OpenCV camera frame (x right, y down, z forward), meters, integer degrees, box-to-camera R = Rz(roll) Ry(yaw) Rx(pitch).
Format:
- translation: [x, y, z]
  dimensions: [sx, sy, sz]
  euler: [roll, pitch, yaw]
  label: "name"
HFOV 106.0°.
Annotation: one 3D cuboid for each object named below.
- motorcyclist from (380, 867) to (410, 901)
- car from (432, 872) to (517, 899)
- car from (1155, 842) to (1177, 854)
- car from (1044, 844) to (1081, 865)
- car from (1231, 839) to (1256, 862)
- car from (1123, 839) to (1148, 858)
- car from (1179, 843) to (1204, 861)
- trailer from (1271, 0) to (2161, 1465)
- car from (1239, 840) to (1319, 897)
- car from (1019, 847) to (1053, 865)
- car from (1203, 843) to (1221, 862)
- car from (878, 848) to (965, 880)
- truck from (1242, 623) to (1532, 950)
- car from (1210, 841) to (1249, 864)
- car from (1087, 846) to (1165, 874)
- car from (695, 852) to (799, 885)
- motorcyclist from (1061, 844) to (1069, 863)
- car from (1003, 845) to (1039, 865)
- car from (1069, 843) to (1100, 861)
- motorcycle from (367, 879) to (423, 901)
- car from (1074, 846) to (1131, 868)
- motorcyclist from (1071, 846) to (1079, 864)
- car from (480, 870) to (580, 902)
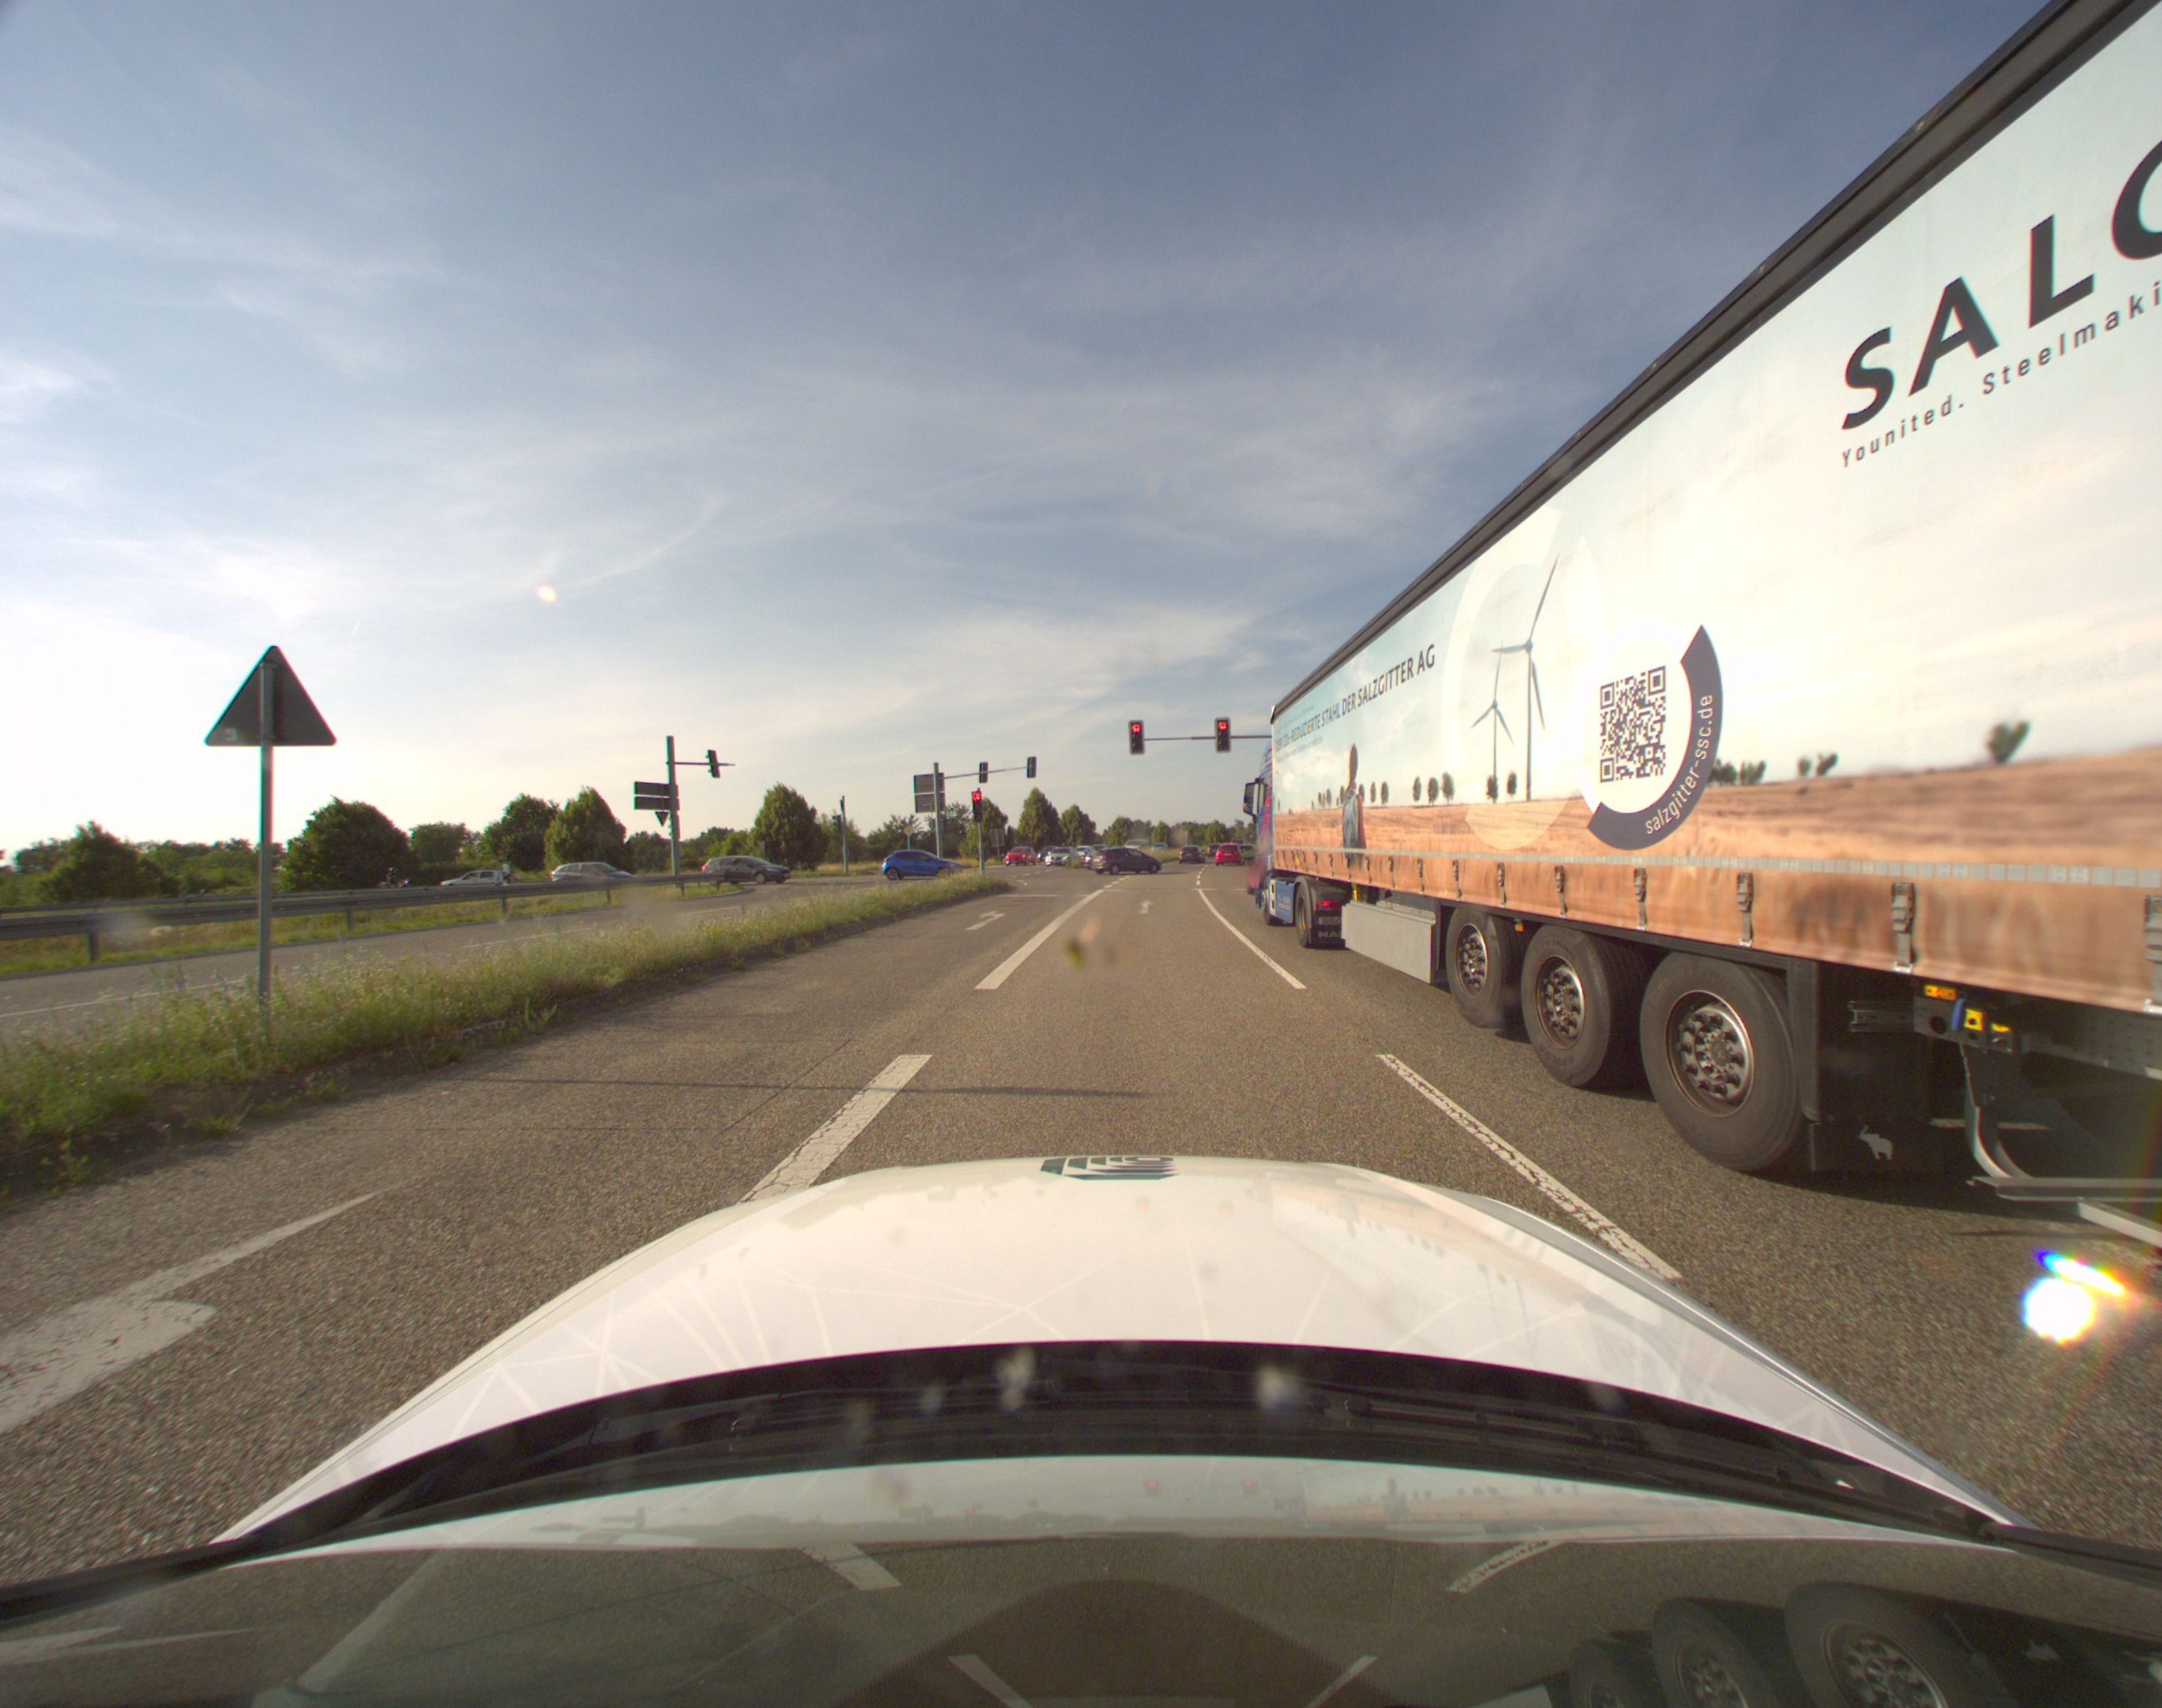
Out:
- translation: [-37.326, 1.621, 44.309]
  dimensions: [0.827, 1.758, 0.905]
  euler: [-1, 0, -4]
  label: "motorcyclist"
- translation: [-39.648, 2.065, 53.313]
  dimensions: [3.976, 1.540, 1.999]
  euler: [-2, 0, -2]
  label: "car"
- translation: [10.760, -0.785, 102.872]
  dimensions: [1.771, 1.385, 4.073]
  euler: [-2, 0, 21]
  label: "car"
- translation: [-1.387, 0.003, 62.110]
  dimensions: [1.774, 1.488, 4.666]
  euler: [-2, 0, 12]
  label: "car"
- translation: [13.827, -0.267, 69.549]
  dimensions: [1.897, 1.800, 4.288]
  euler: [-1, -1, 9]
  label: "car"
- translation: [6.163, -0.641, 91.182]
  dimensions: [1.911, 2.078, 4.261]
  euler: [-2, 0, 15]
  label: "car"
- translation: [8.882, -0.148, 65.408]
  dimensions: [1.825, 1.377, 4.289]
  euler: [-1, -1, 10]
  label: "car"
- translation: [4.503, -0.934, 7.228]
  dimensions: [3.267, 4.681, 13.159]
  euler: [-1, 0, 3]
  label: "trailer"
- translation: [5.929, 0.403, 24.770]
  dimensions: [1.689, 1.549, 3.754]
  euler: [-2, 0, 4]
  label: "car"
- translation: [-3.808, 0.143, 69.587]
  dimensions: [1.774, 1.433, 4.065]
  euler: [-2, 0, 12]
  label: "car"
- translation: [13.932, -0.131, 86.490]
  dimensions: [1.897, 1.915, 4.289]
  euler: [-1, -1, 9]
  label: "car"
- translation: [-7.996, 0.480, 41.032]
  dimensions: [3.957, 1.492, 1.779]
  euler: [-1, 0, 2]
  label: "car"
- translation: [4.972, -0.974, 14.637]
  dimensions: [3.286, 4.657, 5.737]
  euler: [-1, 0, 3]
  label: "truck"
- translation: [10.677, -0.099, 58.223]
  dimensions: [1.878, 1.565, 4.301]
  euler: [-1, -1, 22]
  label: "car"
- translation: [2.427, 0.320, 44.303]
  dimensions: [3.801, 1.416, 1.905]
  euler: [-1, -1, -25]
  label: "car"
- translation: [-16.813, 0.721, 41.069]
  dimensions: [4.491, 1.565, 1.819]
  euler: [-1, 0, 7]
  label: "car"
- translation: [-1.496, -0.054, 77.003]
  dimensions: [0.659, 1.747, 0.606]
  euler: [-2, 0, 4]
  label: "motorcyclist"
- translation: [-4.717, 0.072, 64.513]
  dimensions: [1.709, 1.488, 3.818]
  euler: [-2, 0, 13]
  label: "car"
- translation: [0.363, -0.197, 70.207]
  dimensions: [1.774, 1.433, 4.323]
  euler: [-2, 0, 12]
  label: "car"
- translation: [-37.315, 1.936, 44.334]
  dimensions: [2.160, 1.124, 0.939]
  euler: [-1, 0, -5]
  label: "motorcycle"
- translation: [1.446, 0.220, 52.072]
  dimensions: [1.891, 1.323, 4.304]
  euler: [-1, -1, 28]
  label: "car"
- translation: [-0.596, 0.066, 82.349]
  dimensions: [0.659, 1.817, 0.606]
  euler: [-2, 0, 4]
  label: "motorcyclist"
- translation: [-29.001, 1.685, 42.931]
  dimensions: [4.161, 1.605, 1.793]
  euler: [-1, -1, 6]
  label: "car"
